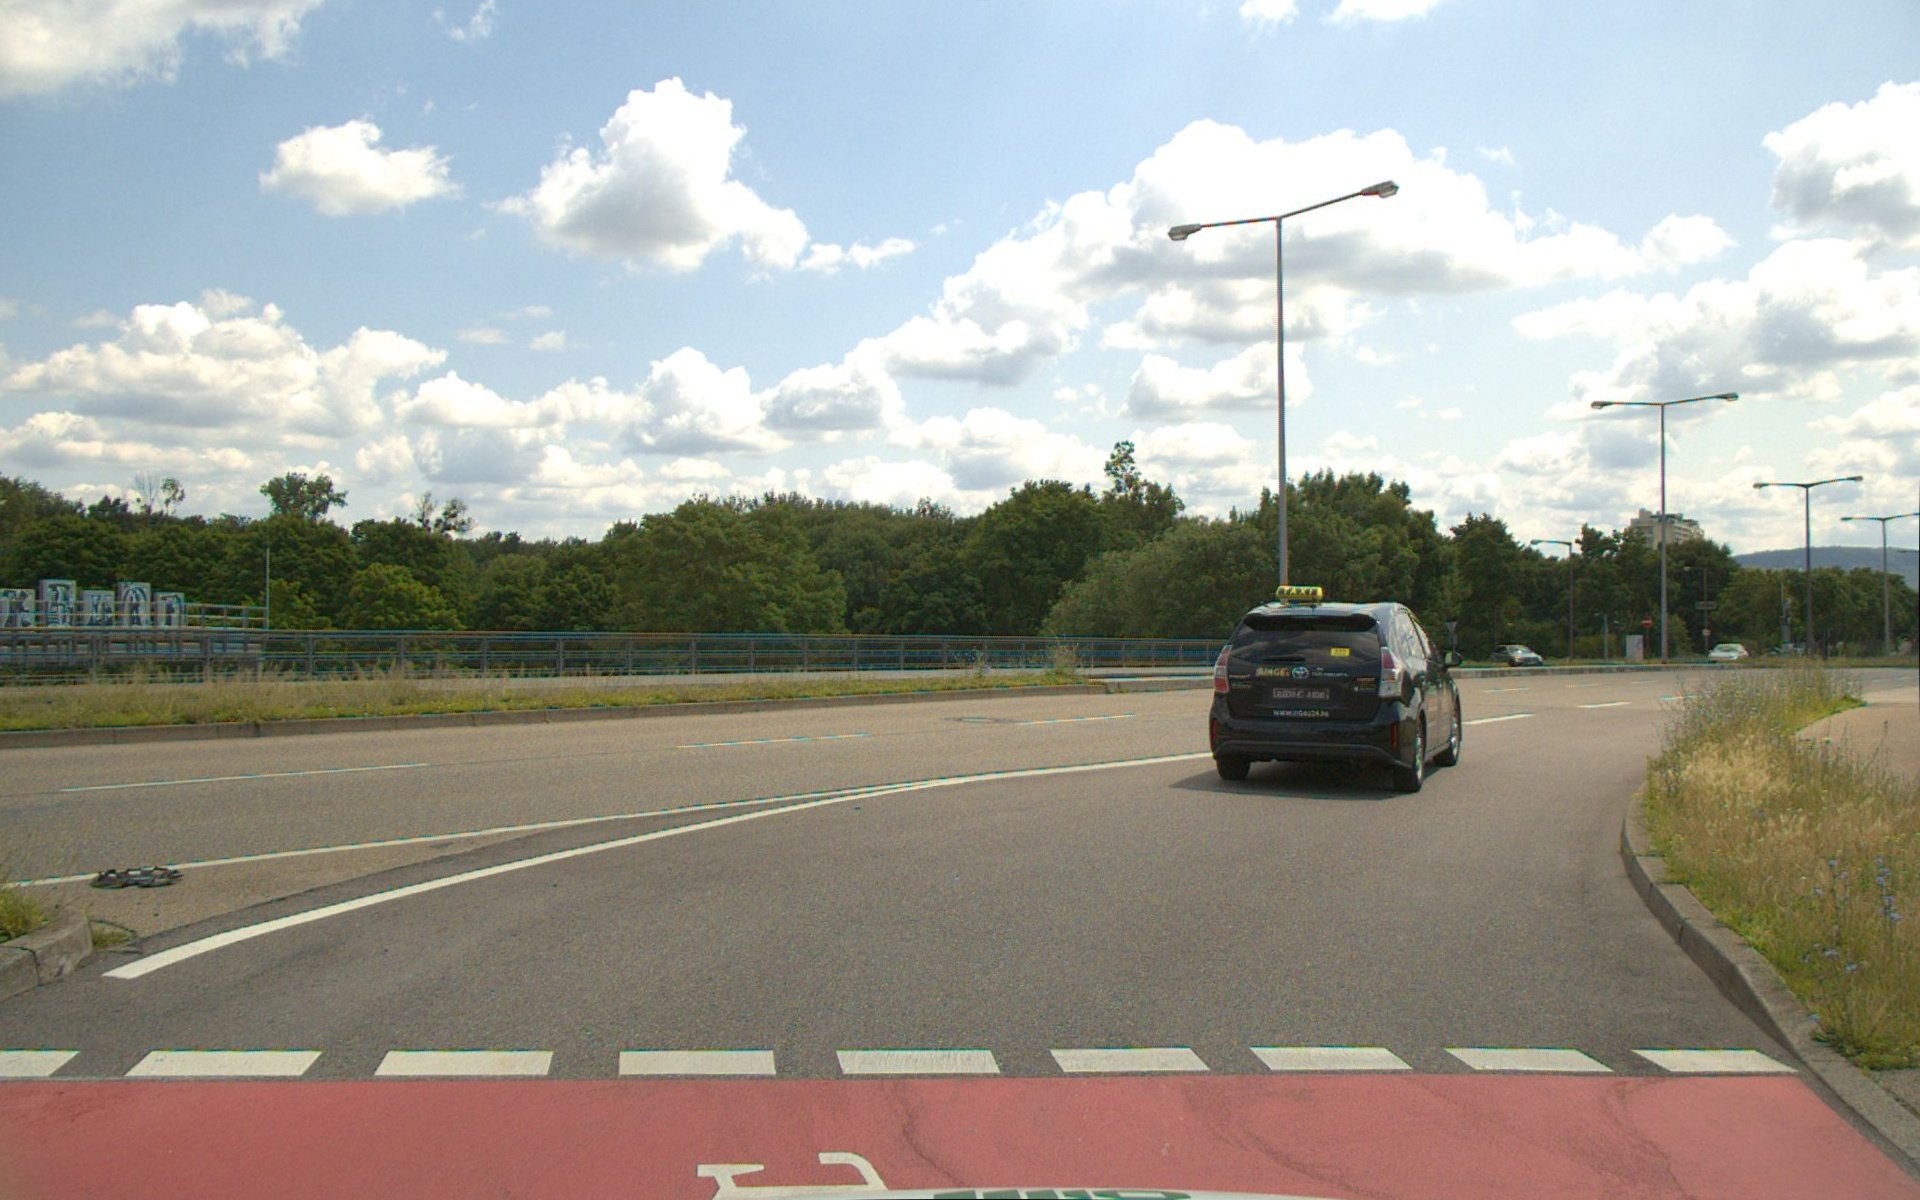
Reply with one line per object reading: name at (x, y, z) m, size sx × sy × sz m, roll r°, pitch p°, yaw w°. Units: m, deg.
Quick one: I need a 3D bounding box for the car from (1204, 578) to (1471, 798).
car at (3.586, 0.693, 15.168) m, size 1.743 × 1.713 × 3.999 m, roll 1°, pitch 0°, yaw 22°

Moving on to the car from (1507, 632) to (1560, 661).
car at (35.931, 2.908, 103.581) m, size 2.052 × 1.655 × 4.535 m, roll 1°, pitch 0°, yaw 34°
